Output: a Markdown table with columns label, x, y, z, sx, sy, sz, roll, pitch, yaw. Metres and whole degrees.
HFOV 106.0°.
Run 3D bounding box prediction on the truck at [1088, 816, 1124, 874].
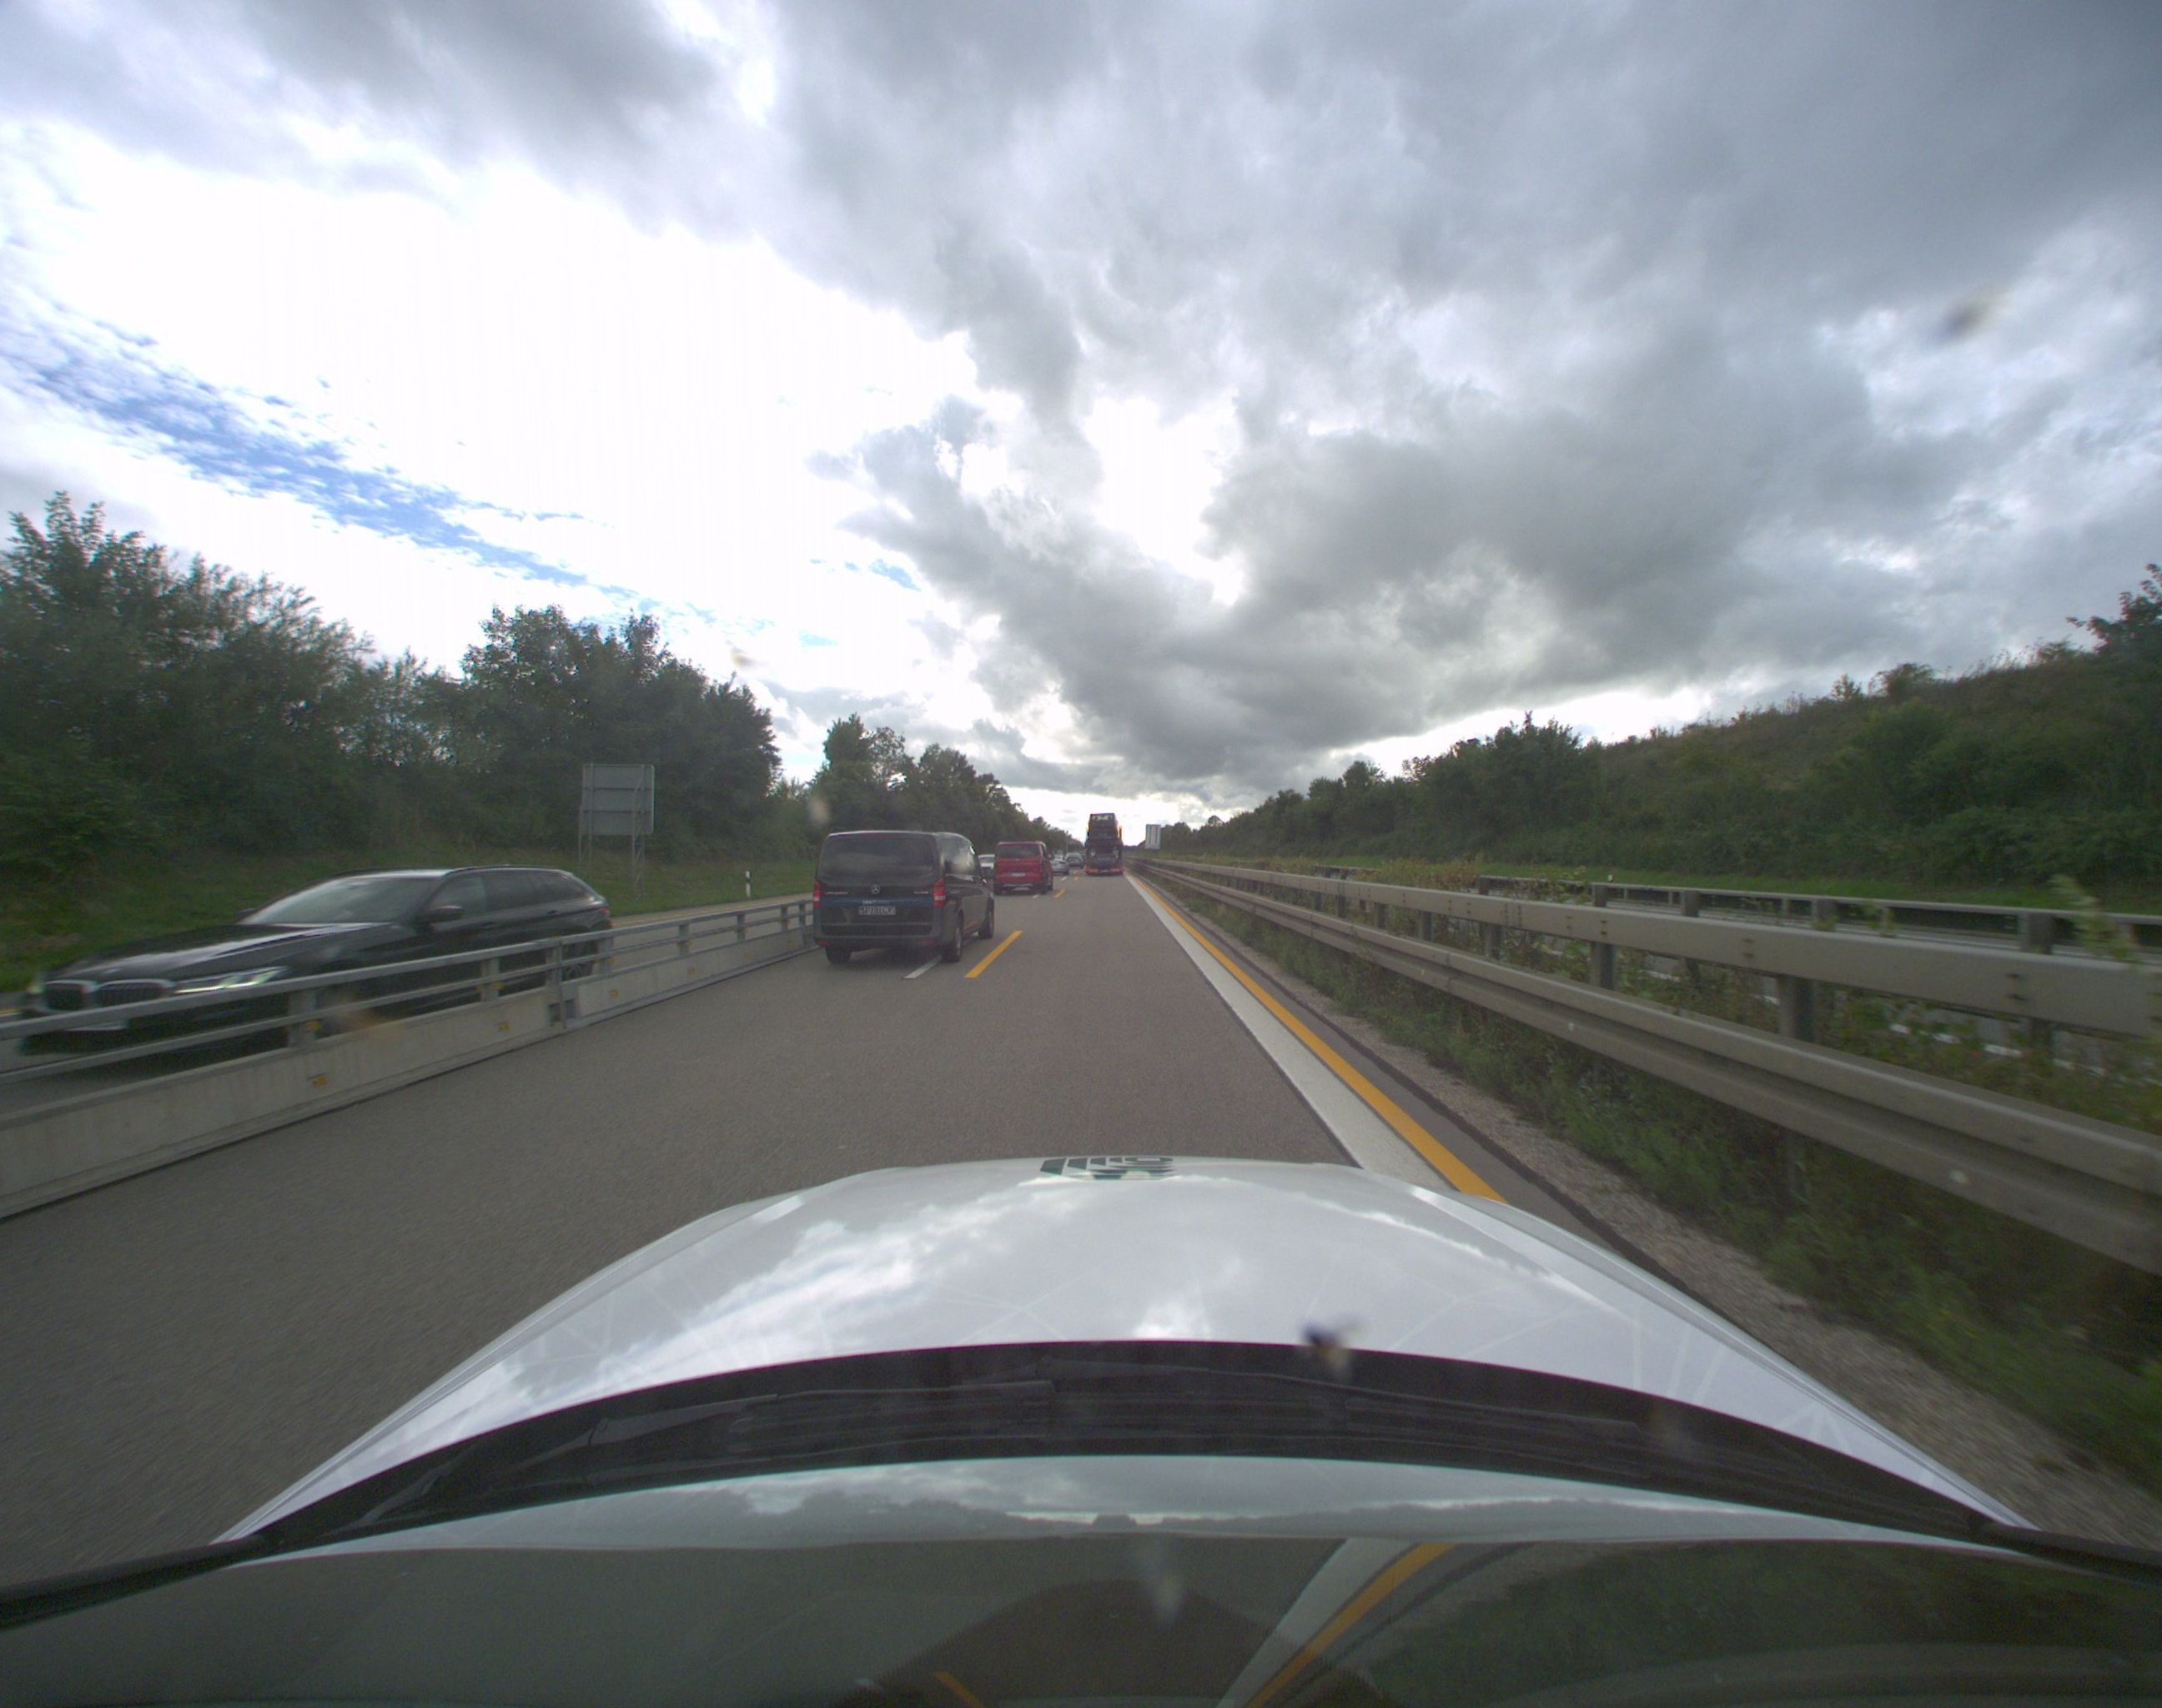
| label | x | y | z | sx | sy | sz | roll | pitch | yaw |
| --- | --- | --- | --- | --- | --- | --- | --- | --- | --- |
| truck | 1.871 | -0.632 | 61.024 | 2.505 | 4.105 | 5.688 | -1 | 0 | 2 |

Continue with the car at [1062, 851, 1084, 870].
| label | x | y | z | sx | sy | sz | roll | pitch | yaw |
| --- | --- | --- | --- | --- | --- | --- | --- | --- | --- |
| car | -0.806 | 0.636 | 81.013 | 2.024 | 1.757 | 4.578 | -1 | 0 | 1 |

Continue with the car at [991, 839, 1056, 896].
| label | x | y | z | sx | sy | sz | roll | pitch | yaw |
| --- | --- | --- | --- | --- | --- | --- | --- | --- | --- |
| car | -2.136 | 0.493 | 31.640 | 2.023 | 2.013 | 4.579 | -1 | 0 | 2 |

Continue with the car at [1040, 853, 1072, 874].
| label | x | y | z | sx | sy | sz | roll | pitch | yaw |
| --- | --- | --- | --- | --- | --- | --- | --- | --- | --- |
| car | -1.748 | 0.638 | 57.766 | 2.024 | 1.430 | 4.578 | -1 | 0 | 1 |

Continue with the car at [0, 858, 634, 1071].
| label | x | y | z | sx | sy | sz | roll | pitch | yaw |
| --- | --- | --- | --- | --- | --- | --- | --- | --- | --- |
| car | -6.858 | 0.823 | 8.248 | 1.928 | 1.469 | 4.591 | -1 | 0 | 2 |

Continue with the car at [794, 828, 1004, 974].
| label | x | y | z | sx | sy | sz | roll | pitch | yaw |
| --- | --- | --- | --- | --- | --- | --- | --- | --- | --- |
| car | -2.635 | 0.612 | 13.391 | 1.986 | 1.843 | 5.611 | -1 | 0 | 2 |

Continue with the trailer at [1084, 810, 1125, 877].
| label | x | y | z | sx | sy | sz | roll | pitch | yaw |
| --- | --- | --- | --- | --- | --- | --- | --- | --- | --- |
| trailer | 1.668 | -0.643 | 56.280 | 2.505 | 4.105 | 11.119 | -1 | 0 | 2 |

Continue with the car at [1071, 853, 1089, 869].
| label | x | y | z | sx | sy | sz | roll | pitch | yaw |
| --- | --- | --- | --- | --- | --- | --- | --- | --- | --- |
| car | -0.098 | 0.742 | 93.027 | 2.024 | 1.757 | 4.578 | -1 | 0 | 1 |

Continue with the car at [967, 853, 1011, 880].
| label | x | y | z | sx | sy | sz | roll | pitch | yaw |
| --- | --- | --- | --- | --- | --- | --- | --- | --- | --- |
| car | -5.499 | 0.724 | 49.168 | 1.986 | 1.520 | 4.671 | -1 | 0 | 1 |
